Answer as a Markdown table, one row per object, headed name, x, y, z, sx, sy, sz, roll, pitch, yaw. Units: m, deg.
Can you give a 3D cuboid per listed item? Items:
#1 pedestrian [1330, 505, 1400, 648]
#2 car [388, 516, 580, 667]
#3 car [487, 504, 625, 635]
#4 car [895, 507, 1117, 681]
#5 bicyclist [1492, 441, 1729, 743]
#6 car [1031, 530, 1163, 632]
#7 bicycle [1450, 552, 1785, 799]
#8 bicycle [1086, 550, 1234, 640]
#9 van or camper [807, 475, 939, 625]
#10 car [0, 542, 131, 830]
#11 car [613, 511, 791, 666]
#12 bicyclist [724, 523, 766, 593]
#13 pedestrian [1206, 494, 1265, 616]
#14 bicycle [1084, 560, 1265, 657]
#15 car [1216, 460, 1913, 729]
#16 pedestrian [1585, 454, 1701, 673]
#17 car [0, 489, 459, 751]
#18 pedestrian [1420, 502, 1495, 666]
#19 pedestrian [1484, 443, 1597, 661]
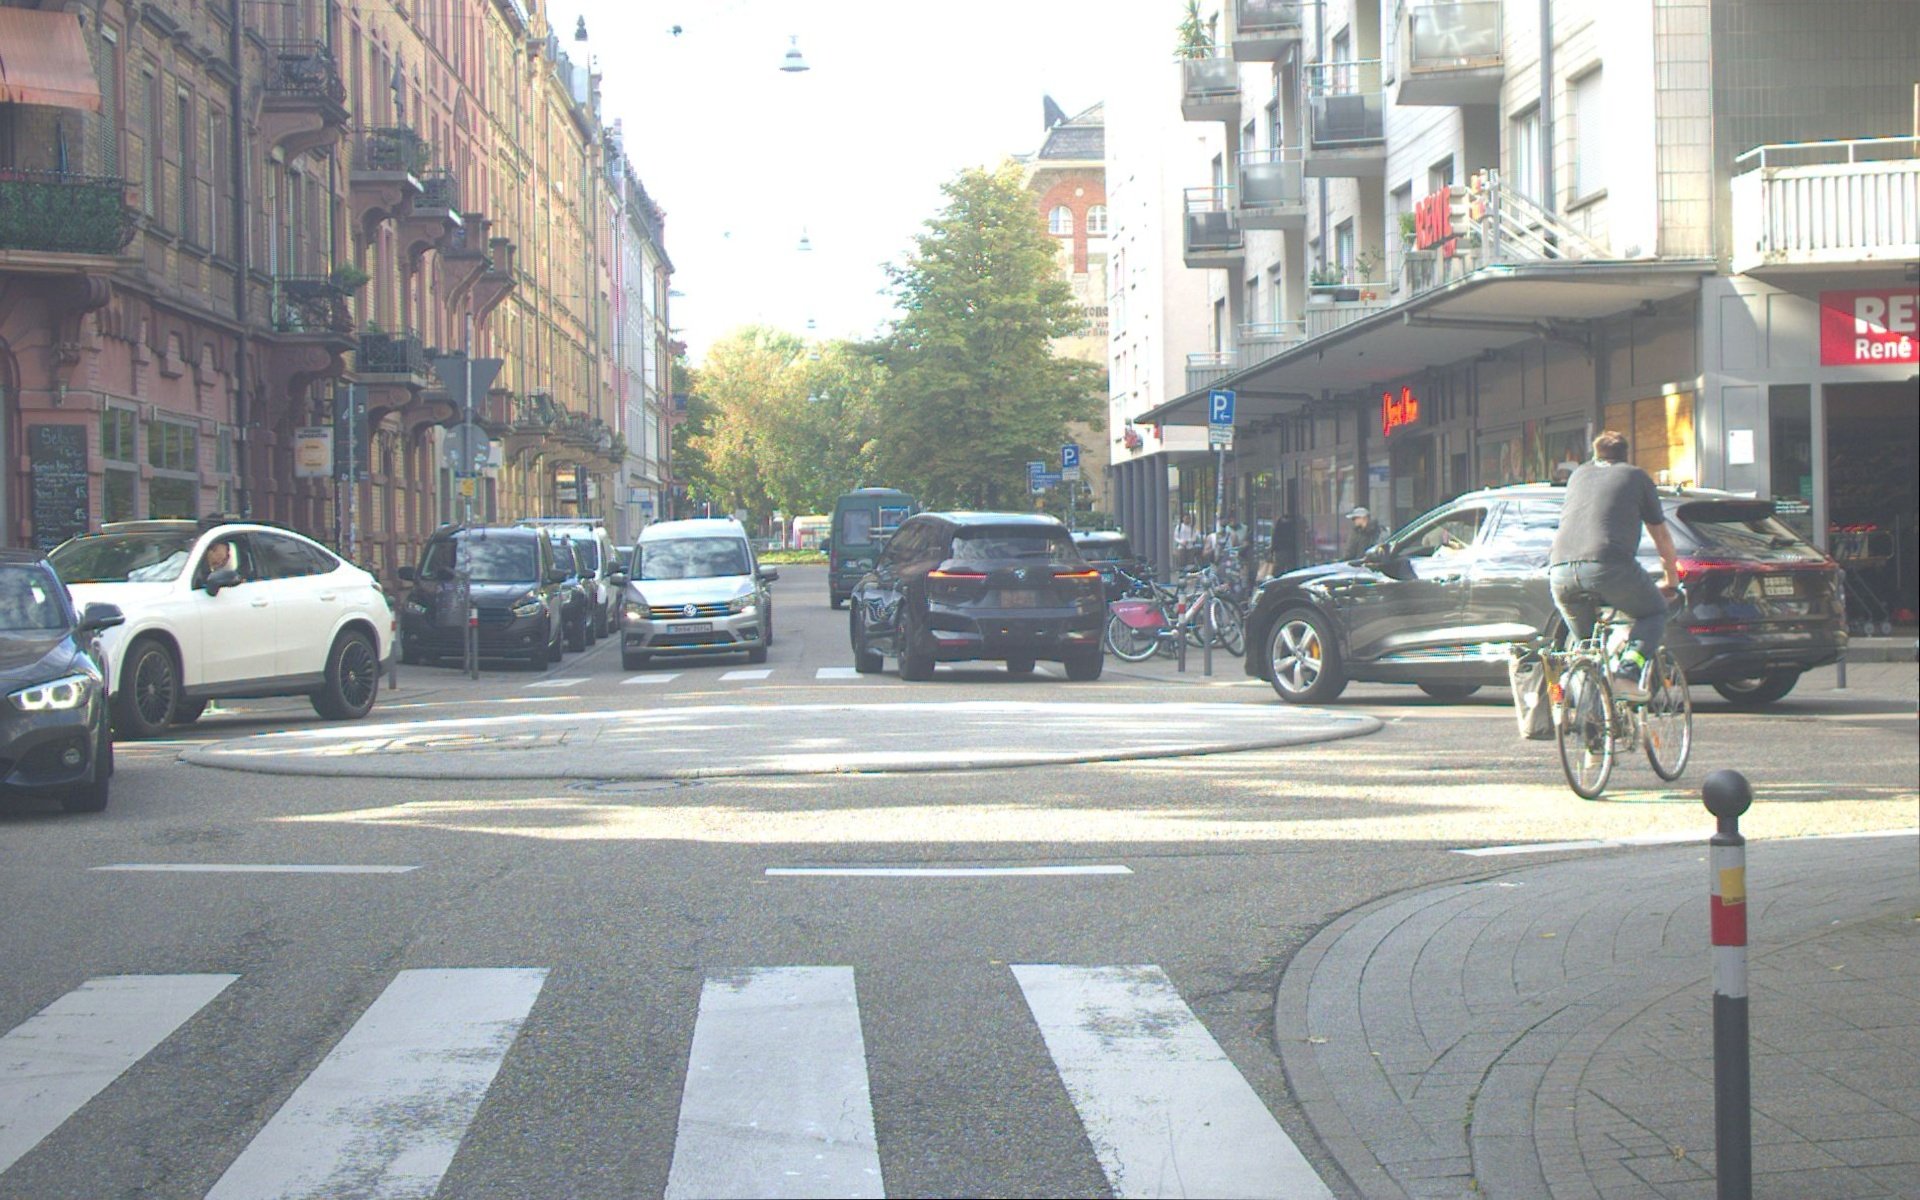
| name | x | y | z | sx | sy | sz | roll | pitch | yaw |
| --- | --- | --- | --- | --- | --- | --- | --- | --- | --- |
| pedestrian | 4.692 | -0.280 | 39.803 | 0.745 | 1.623 | 0.812 | -1 | 1 | 9 |
| car | -5.998 | -0.158 | 43.789 | 1.782 | 1.718 | 4.445 | 1 | 3 | 1 |
| car | -6.544 | -0.526 | 56.045 | 1.993 | 2.007 | 4.001 | -2 | 1 | -4 |
| car | 0.400 | -0.099 | 34.608 | 1.993 | 1.612 | 4.001 | -1 | 1 | -2 |
| bicyclist | 3.299 | -0.048 | 17.432 | 0.935 | 1.478 | 0.745 | 1 | 1 | 38 |
| car | 1.942 | -0.297 | 49.500 | 1.645 | 1.320 | 3.577 | -3 | 1 | -1 |
| bicycle | 3.404 | 0.345 | 17.590 | 0.667 | 1.174 | 2.492 | 1 | 1 | 36 |
| bicycle | 2.423 | -0.070 | 41.530 | 1.785 | 1.023 | 0.681 | -2 | 1 | -39 |
| van or camper | -1.889 | -1.074 | 72.978 | 2.531 | 3.027 | 4.459 | -1 | 1 | -4 |
| car | -5.566 | 0.413 | 19.083 | 1.749 | 1.431 | 4.213 | 0 | 0 | -12 |
| car | -3.196 | -0.184 | 43.402 | 1.793 | 1.784 | 4.736 | -2 | 1 | 1 |
| bicyclist | -6.223 | -1.225 | 99.387 | 1.132 | 1.991 | 1.028 | 1 | 1 | -6 |
| pedestrian | 4.285 | -0.701 | 53.463 | 0.731 | 1.858 | 1.062 | -1 | 1 | 13 |
| bicycle | 2.426 | 0.092 | 39.033 | 2.000 | 1.042 | 0.532 | -1 | 1 | 1 |
| car | 4.349 | -0.080 | 25.416 | 2.037 | 1.718 | 4.844 | -5 | 3 | -40 |
| pedestrian | 5.862 | -0.313 | 29.531 | 0.869 | 1.845 | 0.612 | -1 | 1 | 3 |
| car | -6.125 | 0.089 | 26.991 | 1.945 | 1.716 | 4.844 | -1 | 3 | 25 |
| pedestrian | 5.254 | -0.174 | 36.259 | 0.741 | 1.706 | 0.733 | -1 | 1 | 9 |
| pedestrian | 4.993 | -0.414 | 29.589 | 0.869 | 1.845 | 0.612 | -1 | 1 | 3 |
